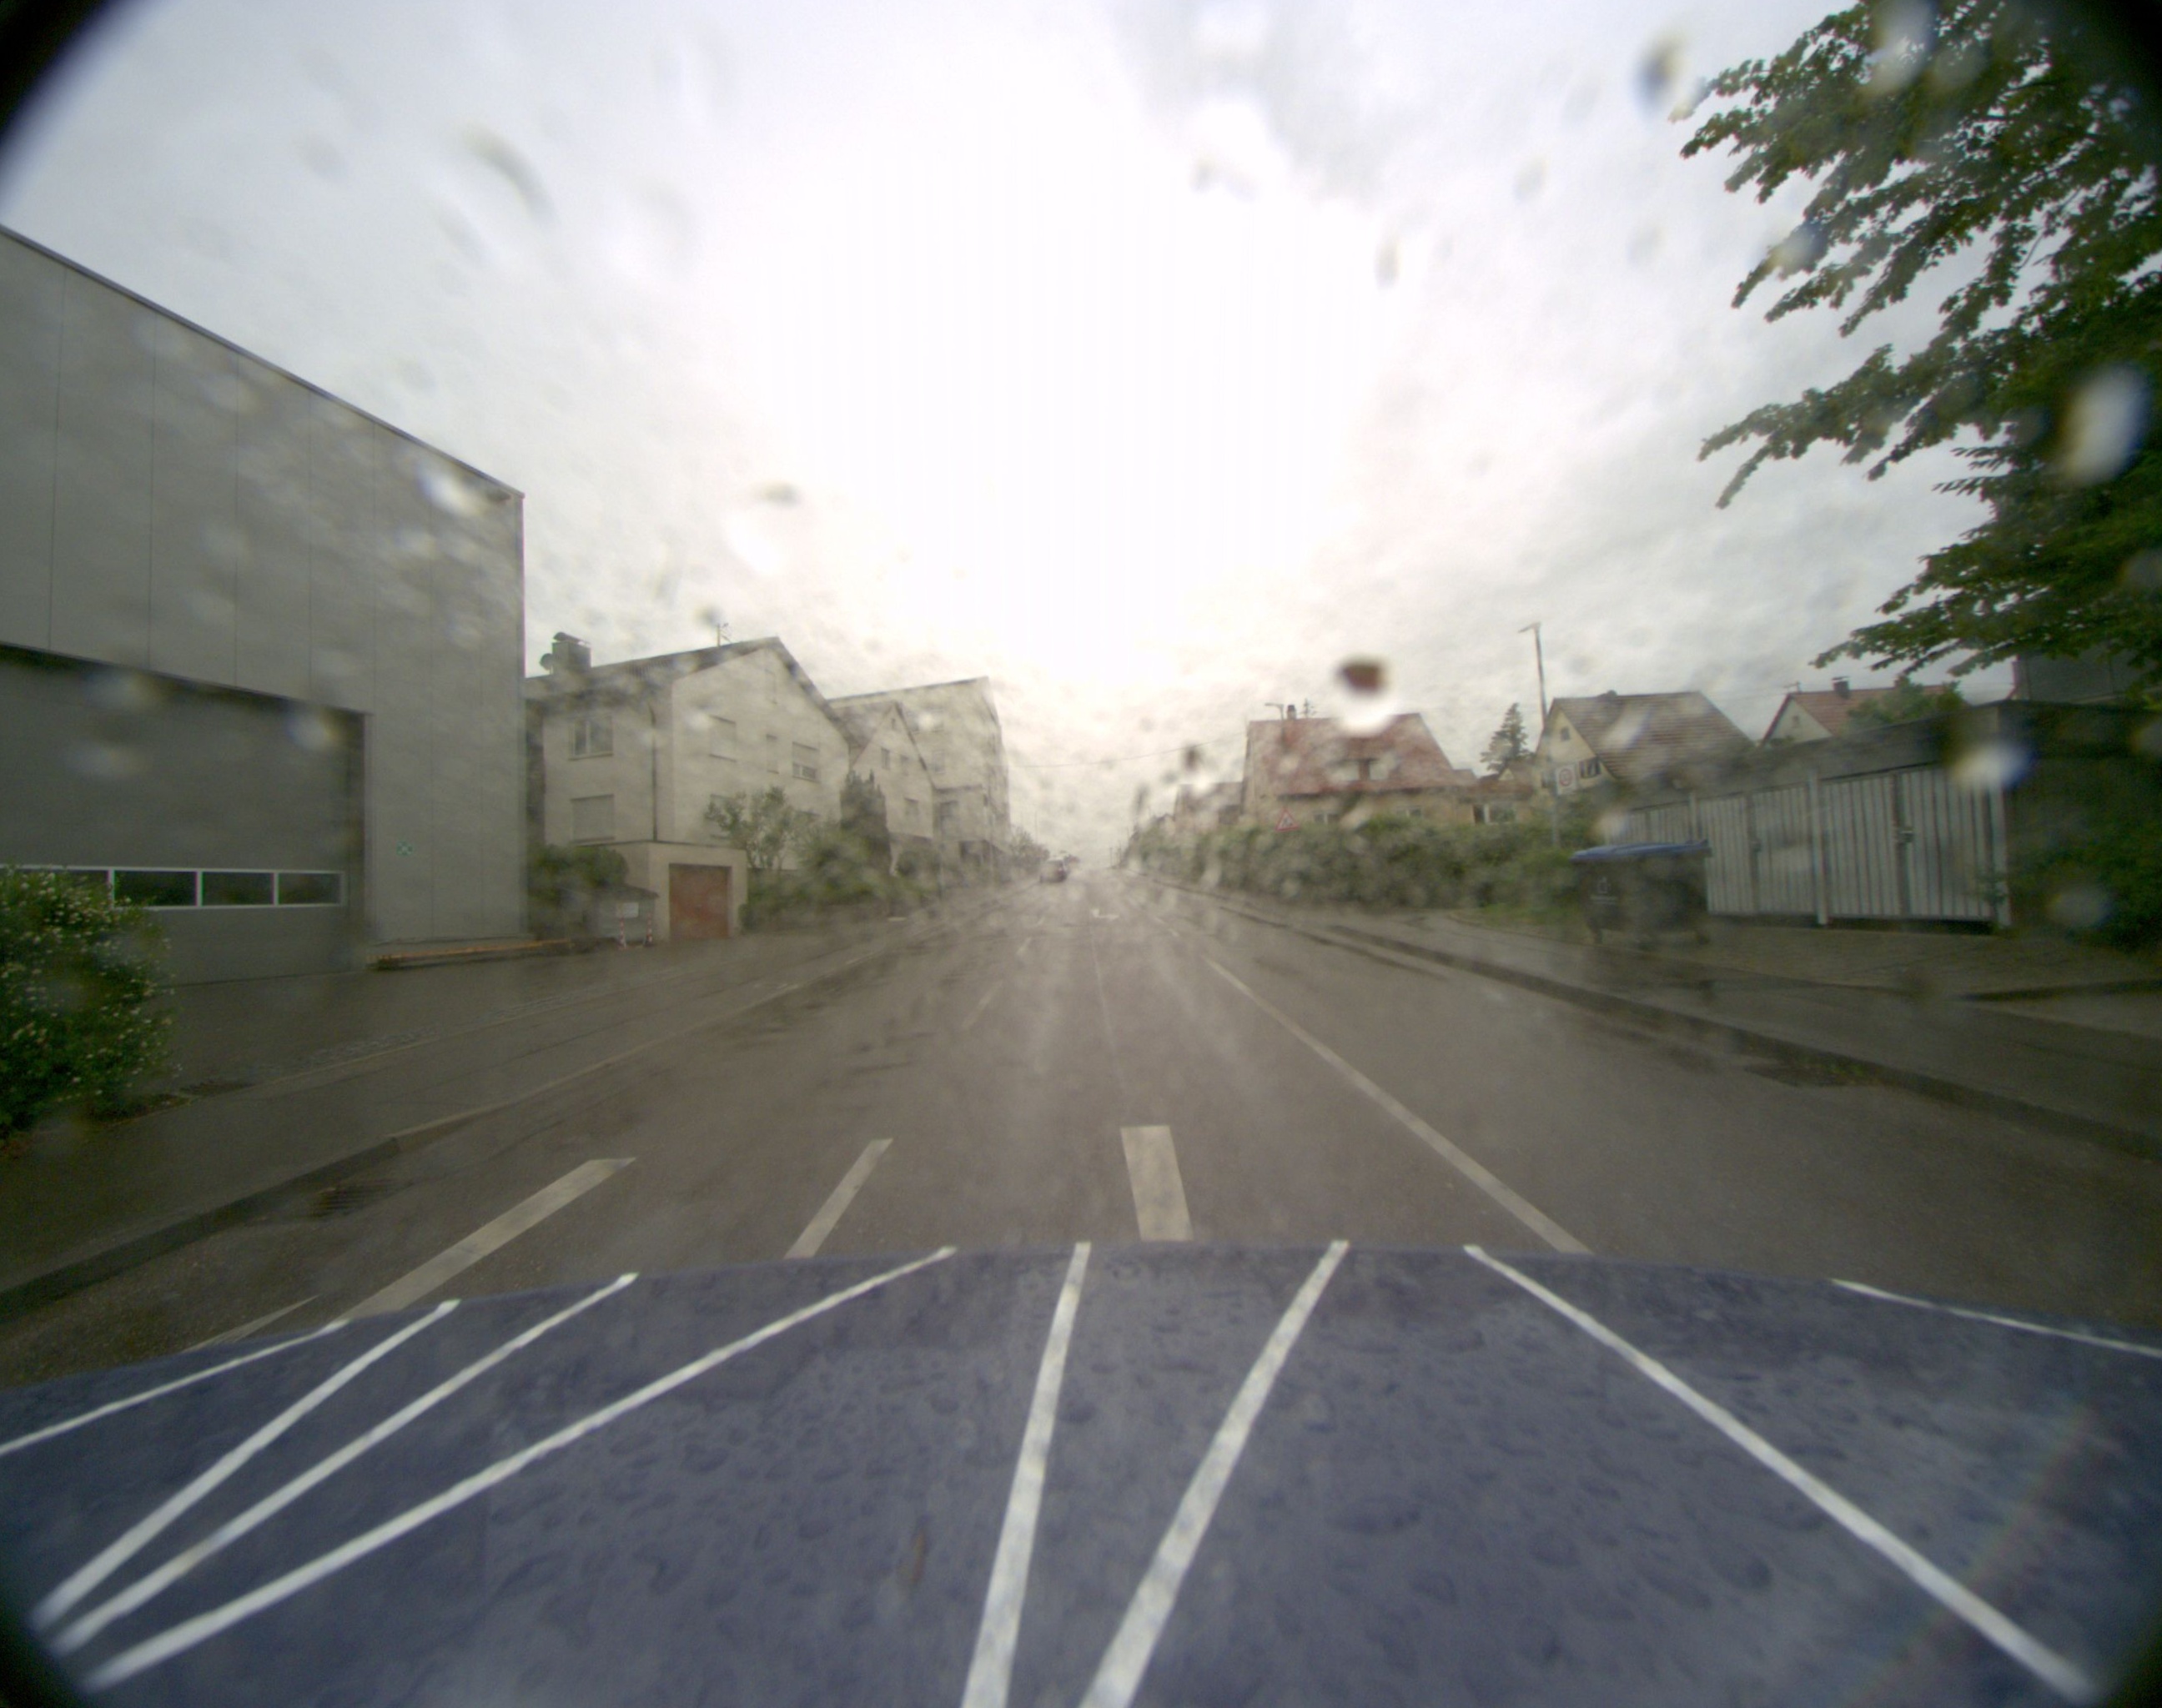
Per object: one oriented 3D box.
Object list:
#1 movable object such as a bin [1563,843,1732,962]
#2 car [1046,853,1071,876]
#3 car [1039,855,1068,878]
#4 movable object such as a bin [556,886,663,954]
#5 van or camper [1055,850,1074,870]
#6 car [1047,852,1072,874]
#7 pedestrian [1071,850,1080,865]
[{"bbox_3d":[7.178,0.586,9.723,1.074,1.339,1.319,-4,0,-1],"label":"movable object such as a bin"},{"bbox_3d":[-1.937,0.888,66.207,1.883,1.823,4.489,-3,0,1],"label":"car"},{"bbox_3d":[-2.157,0.984,60.981,1.998,1.635,4.958,-3,0,1],"label":"car"},{"bbox_3d":[-11.463,1.579,18.541,1.263,1.509,1.781,-2,0,16],"label":"movable object such as a bin"},{"bbox_3d":[-1.824,0.689,85.635,1.998,2.101,5.203,-2,0,0],"label":"van or camper"},{"bbox_3d":[-1.990,0.777,71.985,1.998,1.923,4.976,-3,0,1],"label":"car"},{"bbox_3d":[-0.794,0.515,101.115,1.063,1.924,1.091,-3,1,-2],"label":"pedestrian"}]
